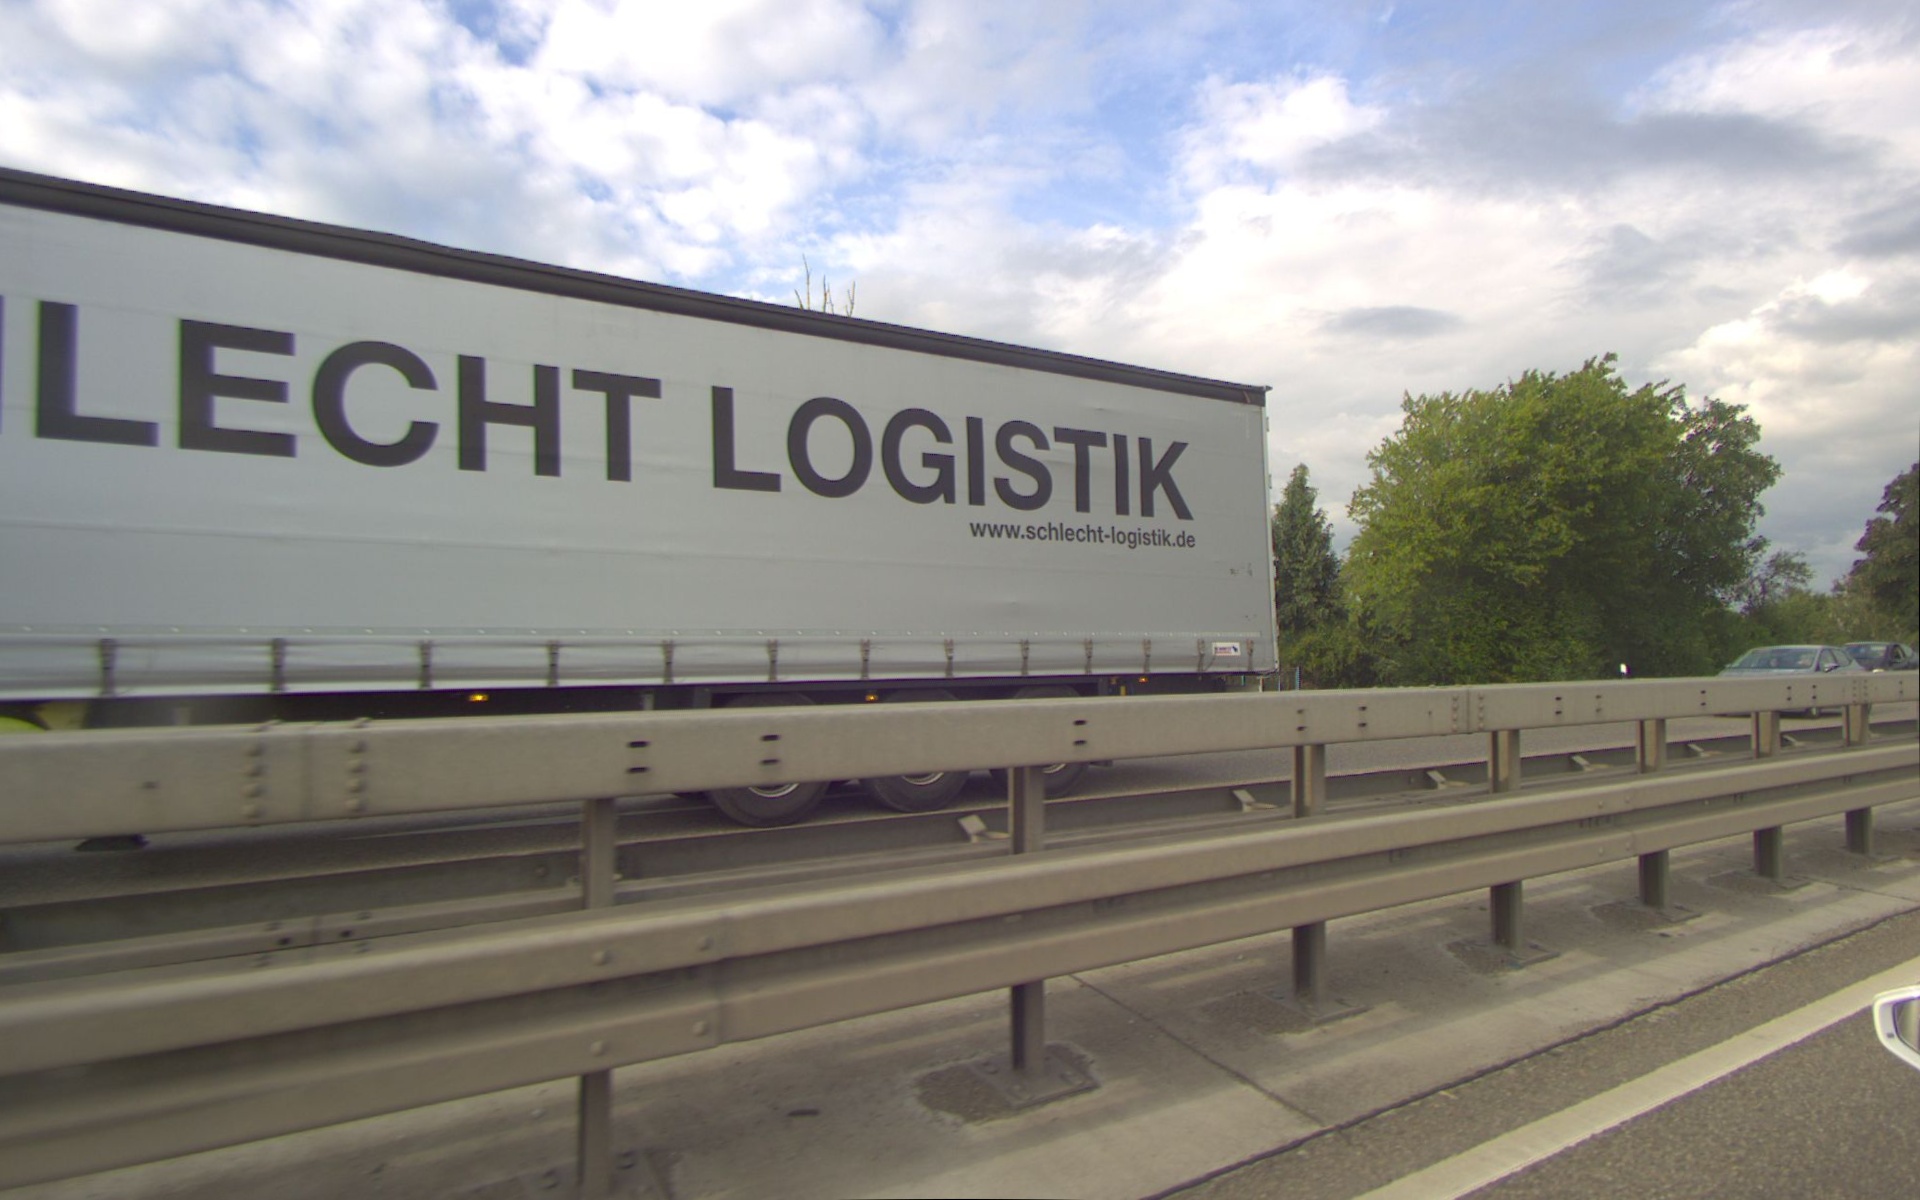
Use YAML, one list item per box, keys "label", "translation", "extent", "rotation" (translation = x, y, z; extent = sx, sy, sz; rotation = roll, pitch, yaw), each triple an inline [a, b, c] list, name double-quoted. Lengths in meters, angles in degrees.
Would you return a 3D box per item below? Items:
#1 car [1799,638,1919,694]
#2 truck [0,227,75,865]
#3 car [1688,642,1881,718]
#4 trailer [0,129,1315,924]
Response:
- label: "car"
  translation: [27.685, 1.974, 30.753]
  extent: [4.112, 1.594, 1.780]
  rotation: [1, -3, -31]
- label: "truck"
  translation: [-8.869, -0.403, 5.005]
  extent: [5.979, 4.204, 3.459]
  rotation: [1, -4, -31]
- label: "car"
  translation: [17.022, 1.585, 20.700]
  extent: [4.112, 1.404, 1.780]
  rotation: [1, -3, -31]
- label: "trailer"
  translation: [-3.101, -0.239, 8.472]
  extent: [13.755, 4.204, 3.449]
  rotation: [2, -4, -31]
